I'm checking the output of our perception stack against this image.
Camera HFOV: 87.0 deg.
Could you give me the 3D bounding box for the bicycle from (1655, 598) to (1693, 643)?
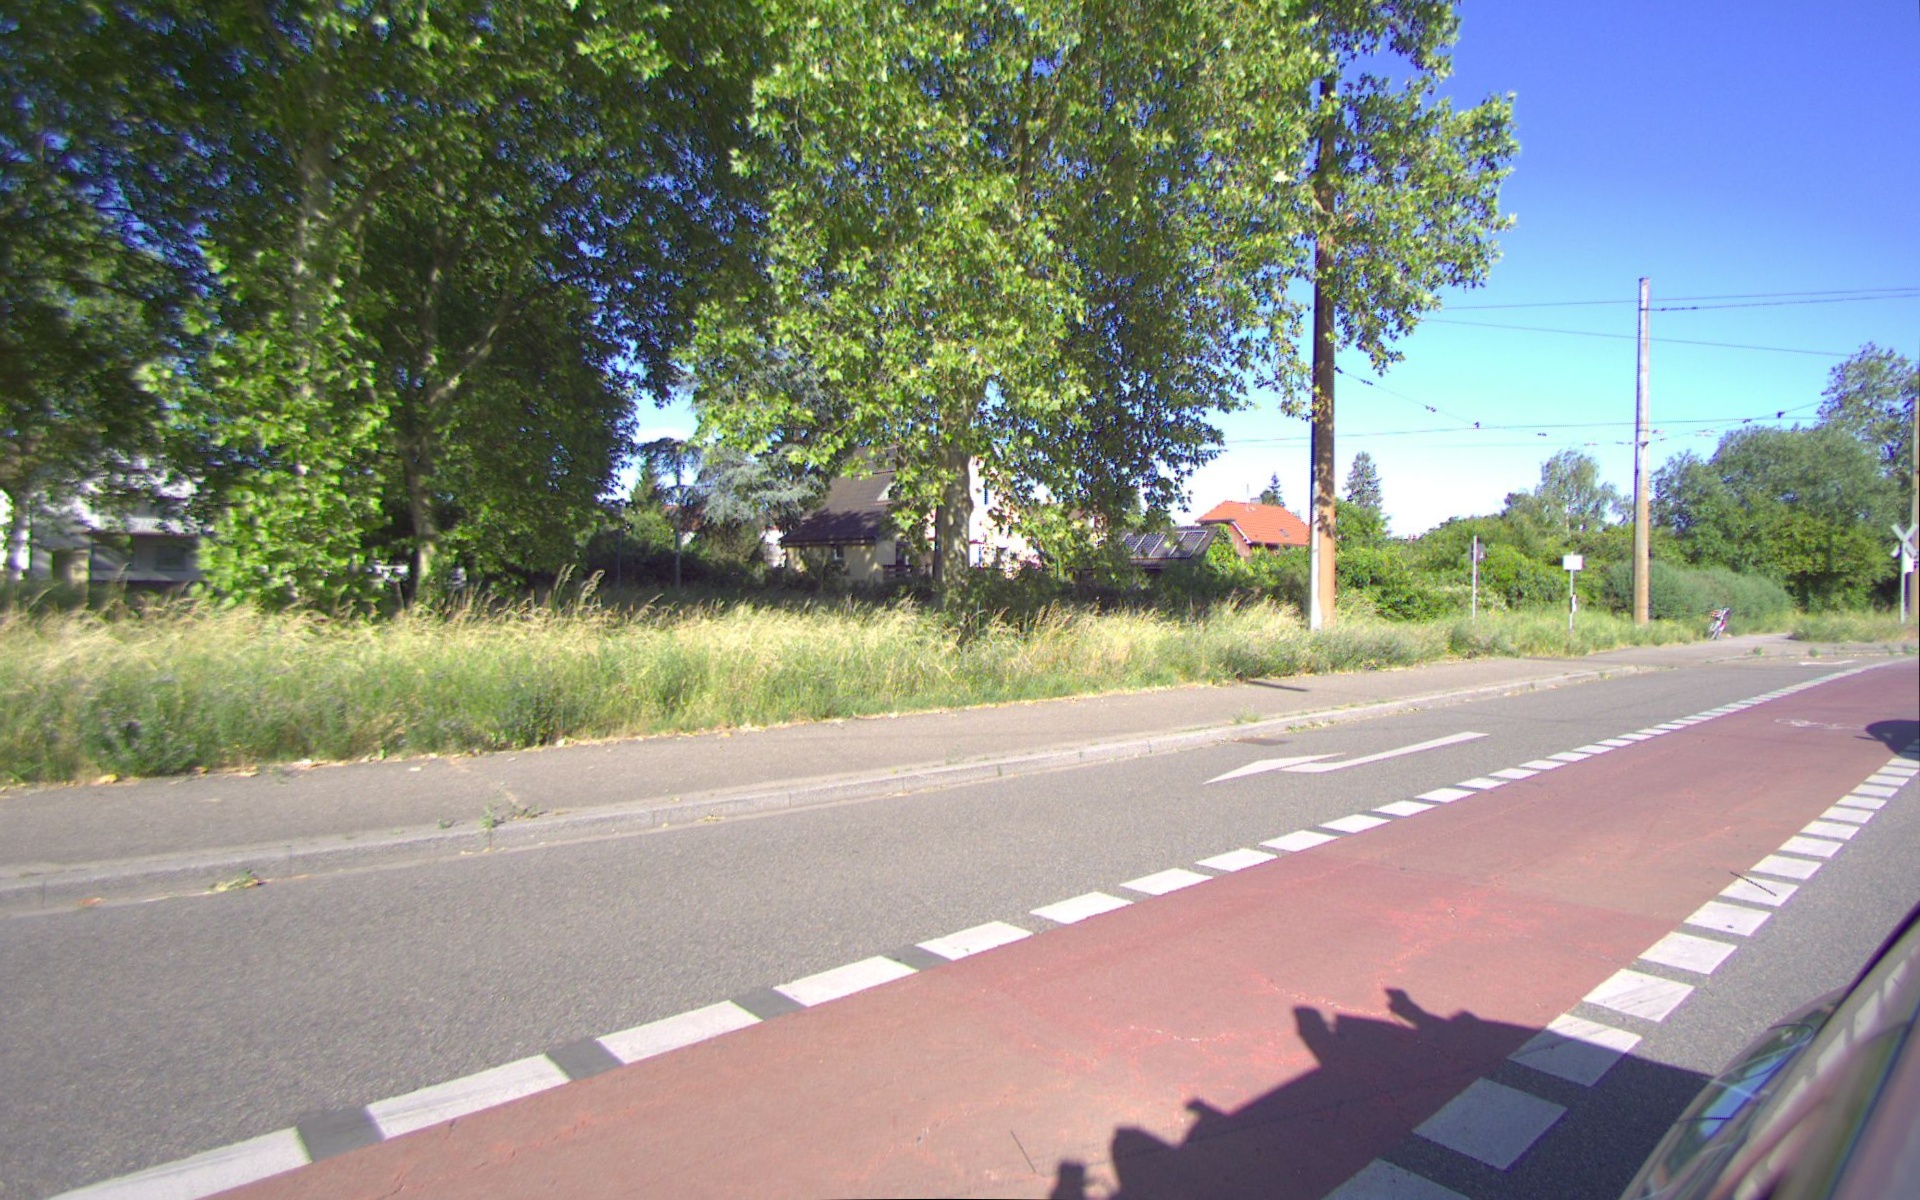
[{"bbox_3d":[19.172,0.525,27.213,0.362,1.149,2.080,1,1,22],"label":"bicycle"}]
